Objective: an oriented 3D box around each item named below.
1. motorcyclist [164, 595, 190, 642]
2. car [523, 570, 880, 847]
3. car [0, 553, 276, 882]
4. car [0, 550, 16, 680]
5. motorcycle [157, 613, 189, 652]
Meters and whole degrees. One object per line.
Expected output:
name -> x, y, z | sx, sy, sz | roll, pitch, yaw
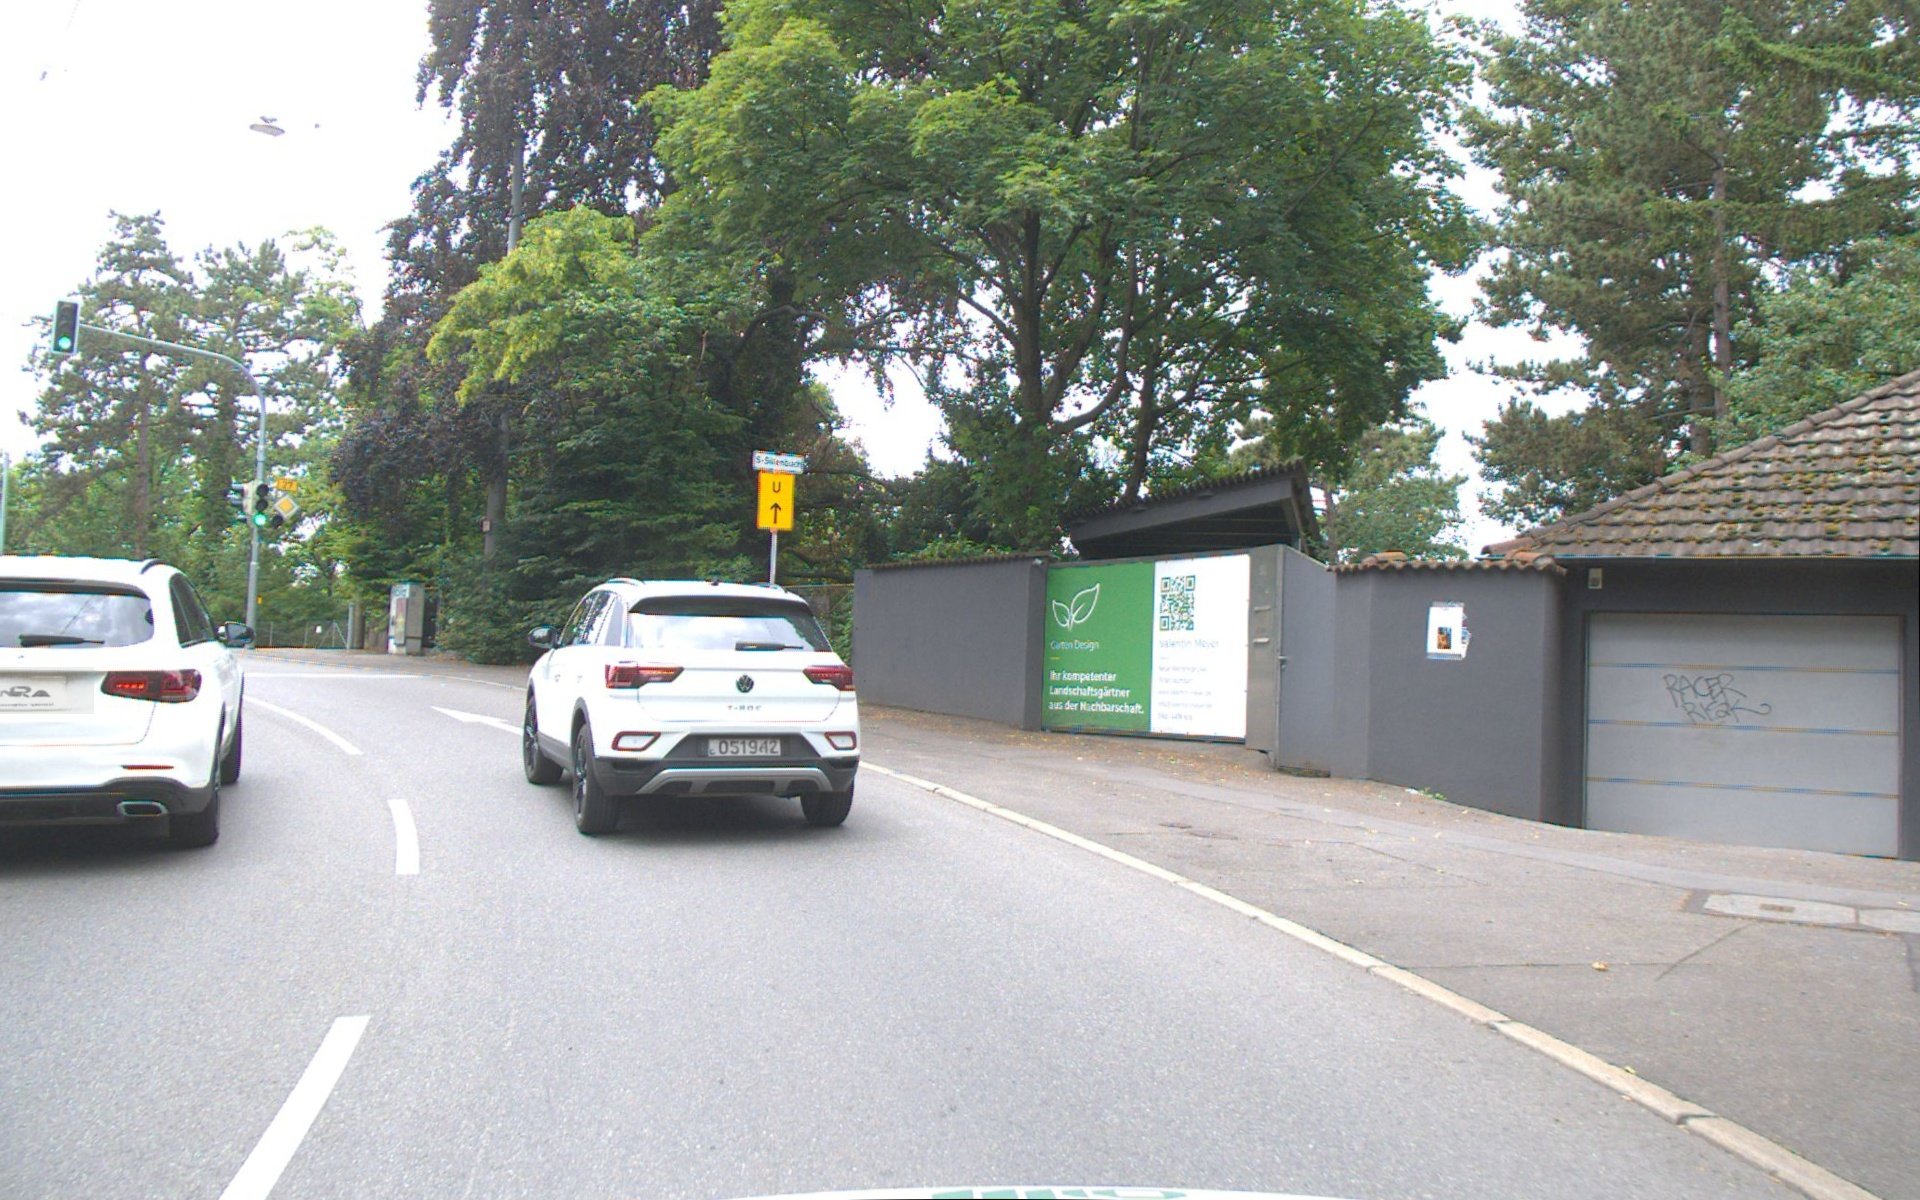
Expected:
motorcyclist -> -24.677, 0.582, 52.131 | 0.589, 1.455, 0.754 | 2, -2, -16
car -> -2.030, 0.586, 11.808 | 1.729, 1.580, 4.312 | 0, 1, -20
car -> -5.537, 0.532, 10.578 | 1.831, 1.633, 4.646 | 0, 2, -19
car -> -13.820, 0.033, 20.906 | 4.693, 1.560, 1.859 | 4, 1, 42
motorcycle -> -24.724, 1.028, 51.955 | 0.589, 1.172, 1.574 | 2, -2, -15
